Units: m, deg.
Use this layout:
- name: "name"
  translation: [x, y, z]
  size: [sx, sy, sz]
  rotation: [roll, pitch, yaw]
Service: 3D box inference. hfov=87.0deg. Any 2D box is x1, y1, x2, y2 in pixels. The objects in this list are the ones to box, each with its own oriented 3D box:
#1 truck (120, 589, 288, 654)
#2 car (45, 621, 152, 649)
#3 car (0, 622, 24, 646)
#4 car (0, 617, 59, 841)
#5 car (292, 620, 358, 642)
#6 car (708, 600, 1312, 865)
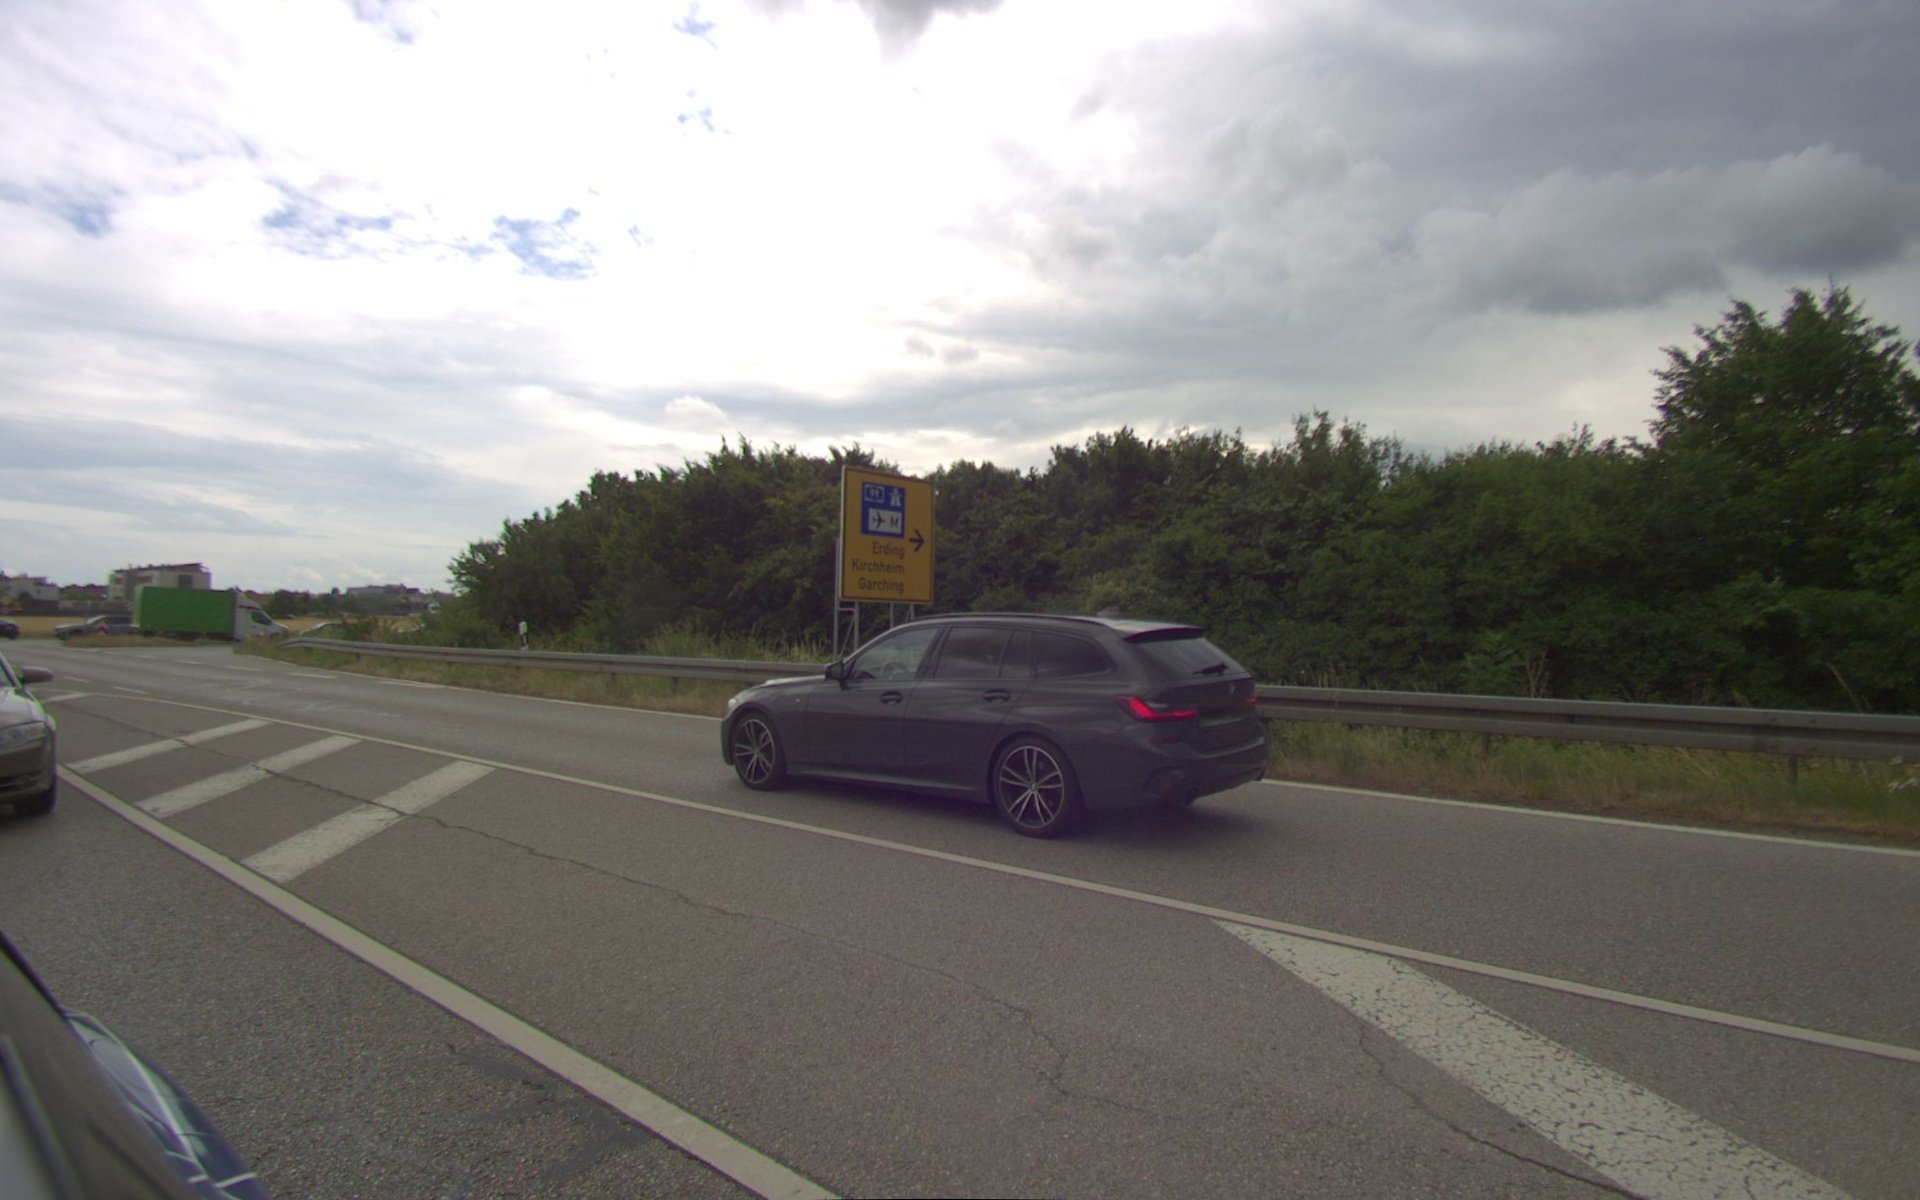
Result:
- name: "truck"
  translation: [-44.171, 1.163, 59.322]
  size: [2.932, 3.589, 7.500]
  rotation: [-1, 0, 42]
- name: "car"
  translation: [-53.326, 2.132, 62.723]
  size: [1.996, 1.702, 4.758]
  rotation: [-1, -2, 36]
- name: "car"
  translation: [-63.092, 2.204, 65.791]
  size: [3.816, 1.501, 1.983]
  rotation: [0, -1, 25]
- name: "car"
  translation: [-8.233, 0.874, 7.558]
  size: [4.201, 1.455, 1.708]
  rotation: [-1, -1, 41]
- name: "car"
  translation: [-44.725, 2.195, 71.293]
  size: [3.662, 1.510, 1.732]
  rotation: [1, -2, -42]
- name: "car"
  translation: [0.162, 0.775, 7.715]
  size: [4.442, 1.461, 1.781]
  rotation: [-1, -2, 40]
